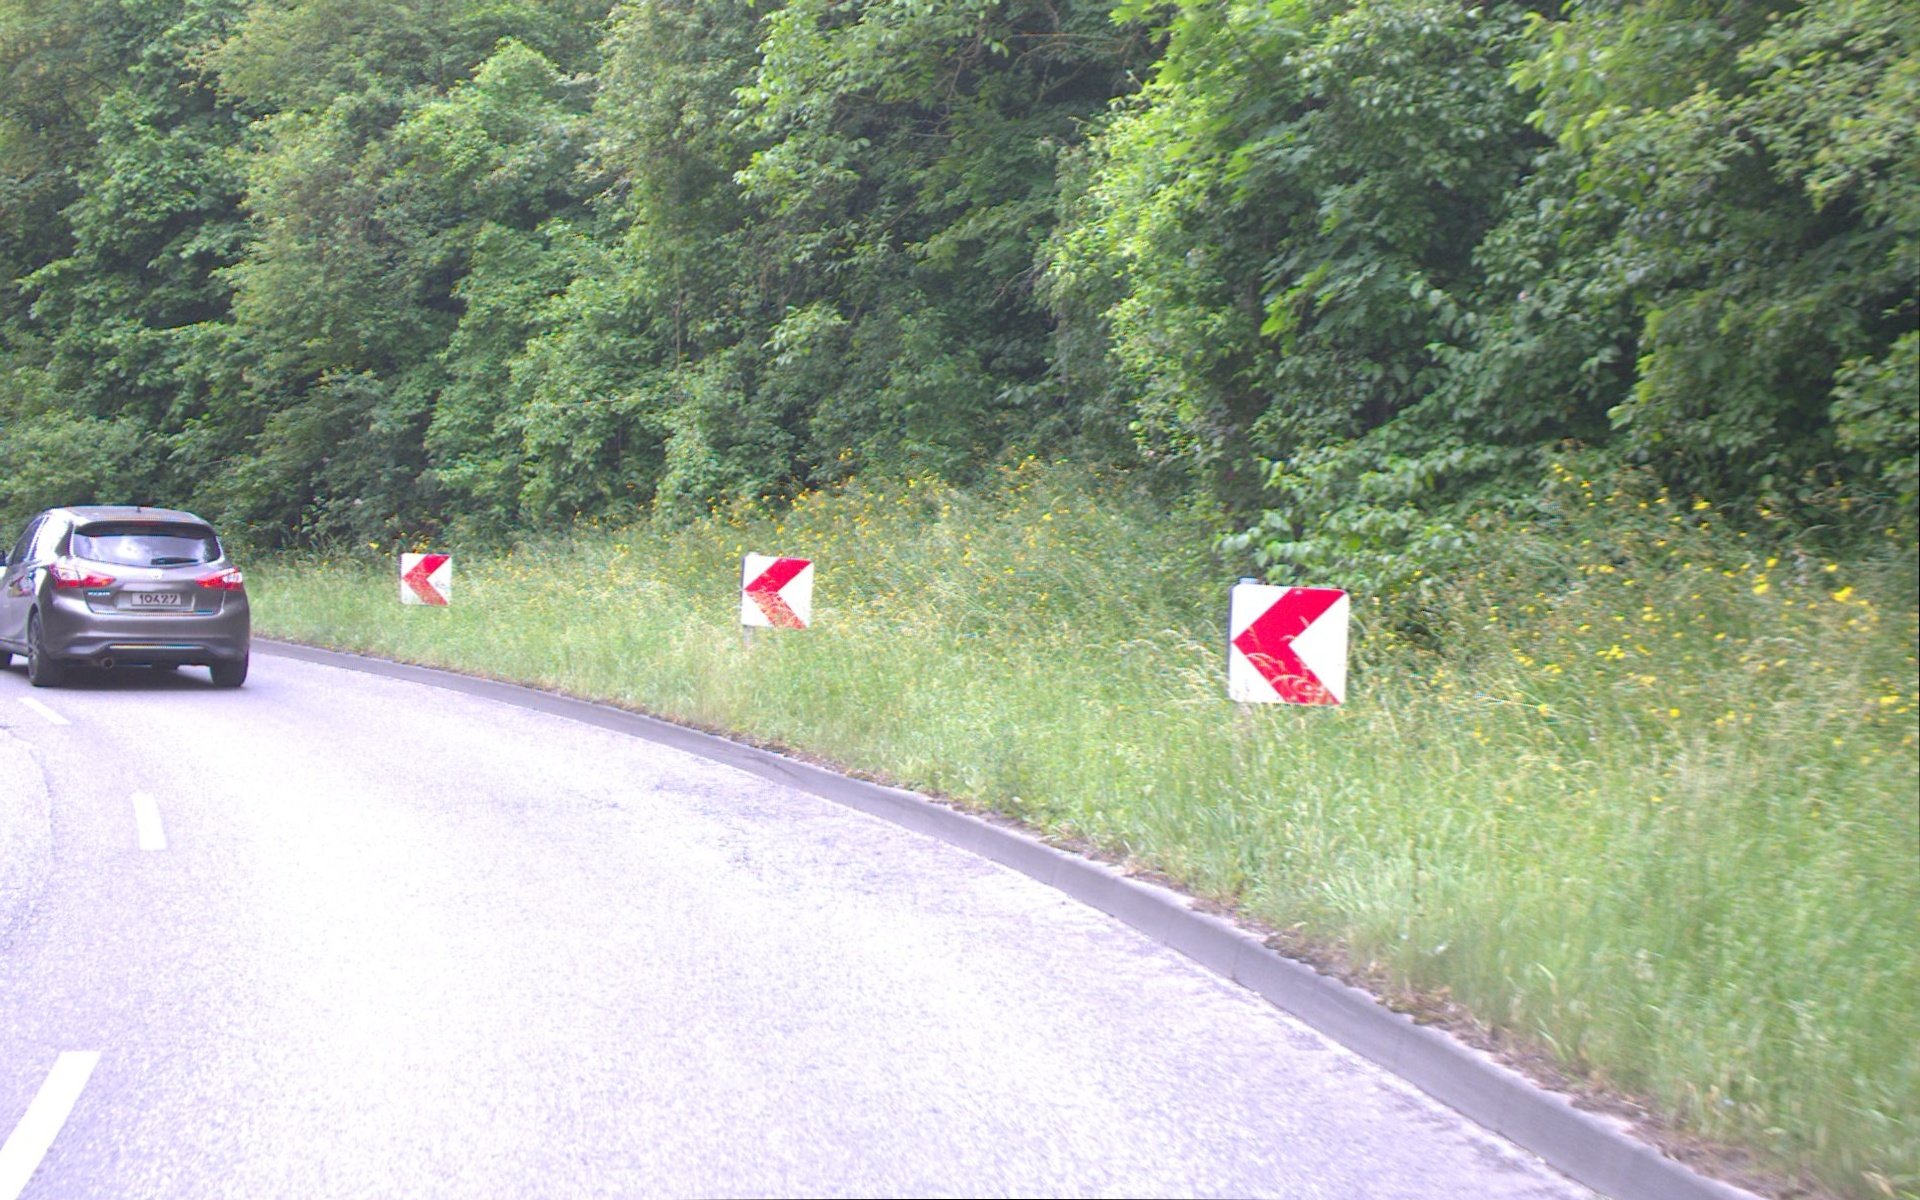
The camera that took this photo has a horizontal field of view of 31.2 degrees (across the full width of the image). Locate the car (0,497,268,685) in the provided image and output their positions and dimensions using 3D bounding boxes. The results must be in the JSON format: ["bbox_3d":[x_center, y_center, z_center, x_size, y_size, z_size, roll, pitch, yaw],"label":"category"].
[{"bbox_3d":[-7.550,-0.106,30.140,1.839,1.478,4.001,2,0,-27],"label":"car"}]
